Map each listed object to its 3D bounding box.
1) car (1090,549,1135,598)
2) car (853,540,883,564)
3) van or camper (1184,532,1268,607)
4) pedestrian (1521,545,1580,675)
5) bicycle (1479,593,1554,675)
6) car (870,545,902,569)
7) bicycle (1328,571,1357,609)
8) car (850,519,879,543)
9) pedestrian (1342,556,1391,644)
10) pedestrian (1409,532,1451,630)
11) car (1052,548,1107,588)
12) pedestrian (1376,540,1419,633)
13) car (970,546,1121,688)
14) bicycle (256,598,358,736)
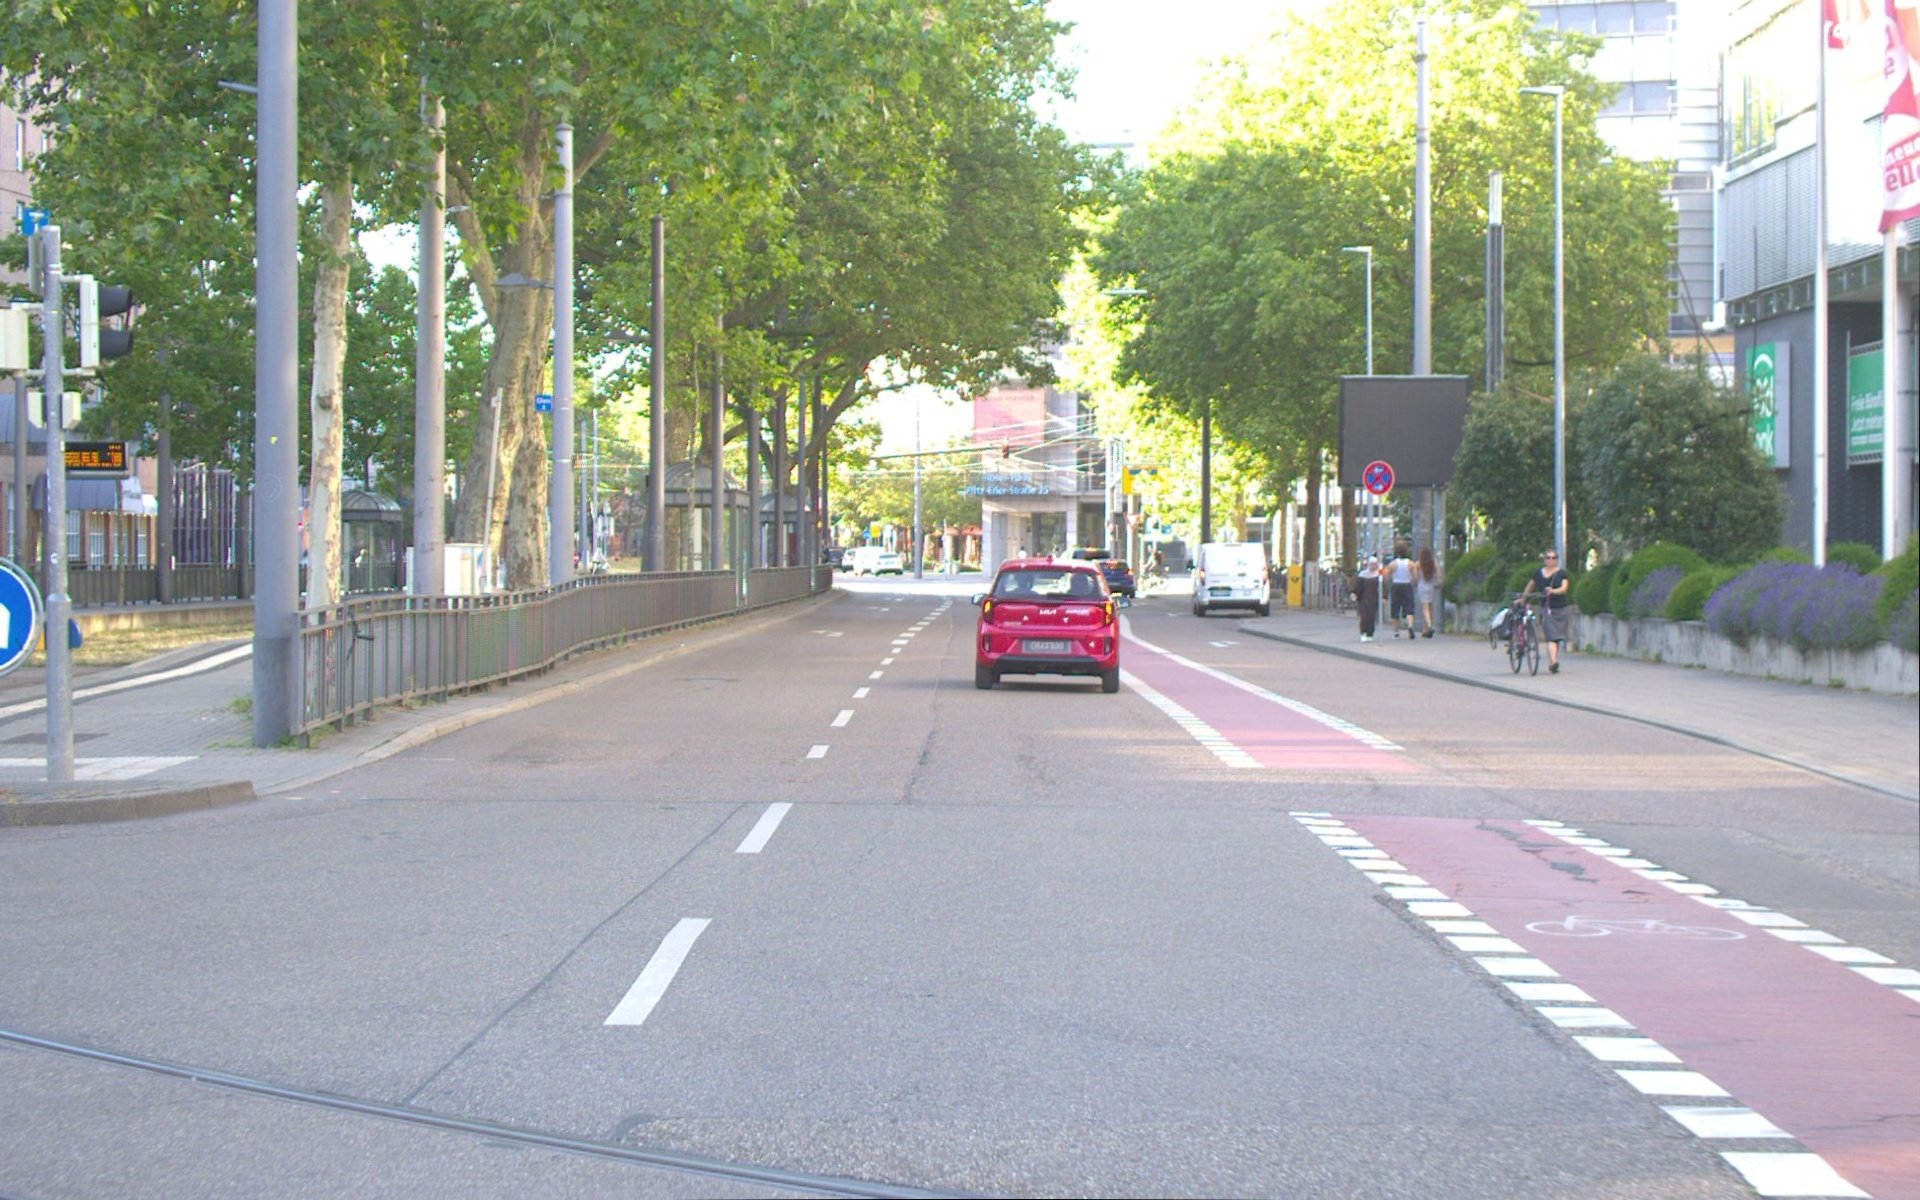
[{"bbox_3d":[5.727,-1.002,129.457,1.635,1.794,3.330,0,1,2],"label":"car"},{"bbox_3d":[-6.051,-3.152,226.040,1.777,1.529,3.412,1,1,-5],"label":"car"},{"bbox_3d":[7.275,-0.844,94.317,1.993,1.982,4.745,1,1,1],"label":"van or camper"},{"bbox_3d":[7.702,0.125,44.856,0.646,1.674,0.651,0,1,-2],"label":"pedestrian"},{"bbox_3d":[7.238,0.426,44.809,0.520,0.971,2.202,-3,1,-1],"label":"bicycle"},{"bbox_3d":[-4.733,-2.746,219.443,1.777,1.529,3.412,1,1,-5],"label":"car"},{"bbox_3d":[11.105,-0.302,99.745,0.586,1.063,1.900,-1,1,-1],"label":"bicycle"},{"bbox_3d":[-6.469,-4.641,232.036,1.777,1.583,3.412,1,1,-5],"label":"car"},{"bbox_3d":[7.482,0.003,63.274,0.641,1.574,0.723,-4,1,-8],"label":"pedestrian"},{"bbox_3d":[8.791,-0.361,64.269,0.540,1.790,0.907,-3,1,-2],"label":"pedestrian"},{"bbox_3d":[4.781,-1.286,137.707,1.777,1.529,3.513,1,1,-5],"label":"car"},{"bbox_3d":[8.175,-0.261,64.246,0.564,1.696,0.907,-3,1,-2],"label":"pedestrian"},{"bbox_3d":[0.935,0.158,39.209,1.613,1.529,3.412,1,1,0],"label":"car"},{"bbox_3d":[-4.959,0.496,26.158,0.395,0.945,1.351,0,3,5],"label":"bicycle"}]
